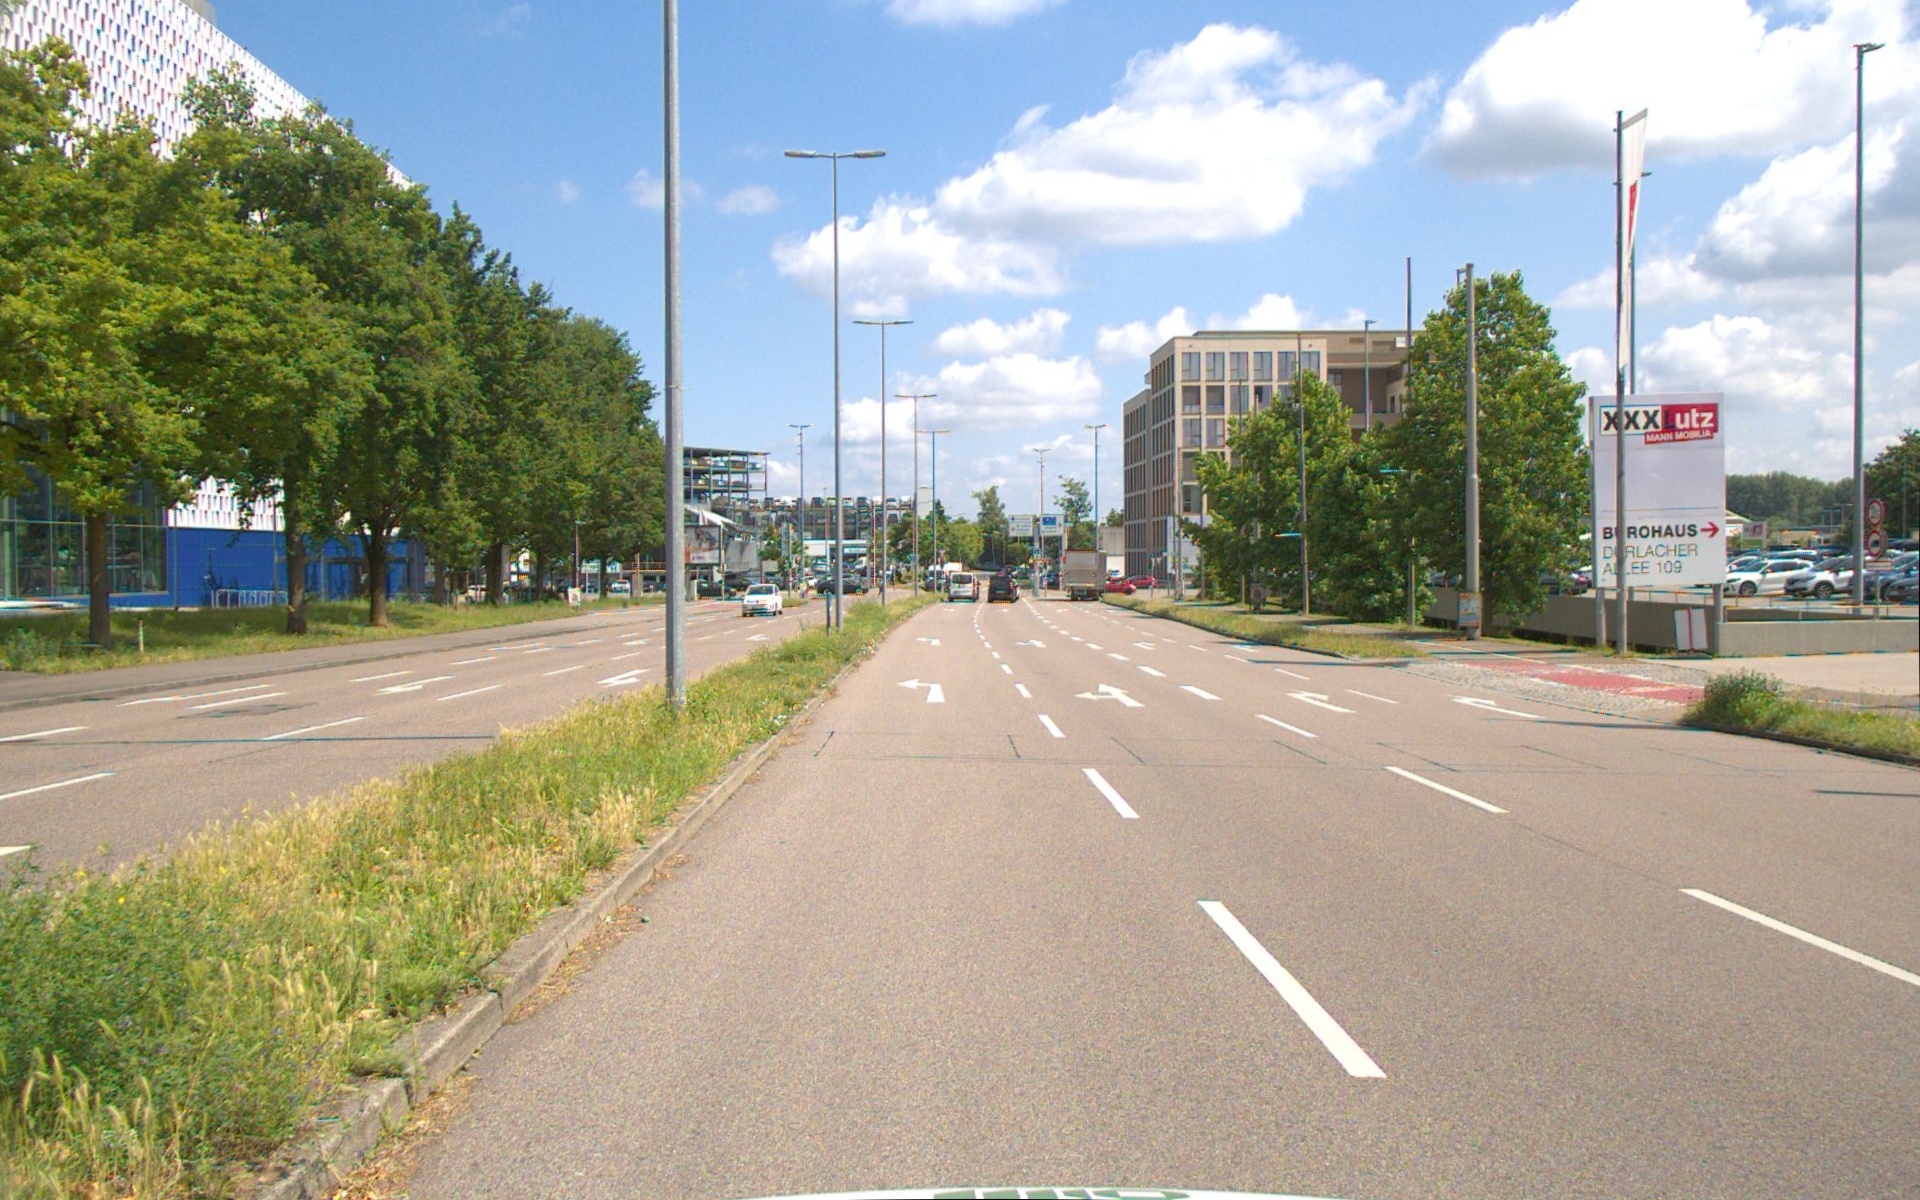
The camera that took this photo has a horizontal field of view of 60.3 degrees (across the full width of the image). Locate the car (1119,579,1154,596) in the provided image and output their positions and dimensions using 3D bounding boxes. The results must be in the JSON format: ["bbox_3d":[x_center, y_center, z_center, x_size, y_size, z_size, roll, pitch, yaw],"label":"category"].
[{"bbox_3d":[17.179,-1.186,161.025,3.206,1.428,1.335,0,10,-1],"label":"car"}]

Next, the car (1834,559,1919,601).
[{"bbox_3d":[33.221,-0.735,58.125,4.098,1.348,1.688,-2,1,-1],"label":"car"}]

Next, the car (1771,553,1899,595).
[{"bbox_3d":[33.511,-0.985,63.401,3.907,1.598,1.999,0,0,-3],"label":"car"}]

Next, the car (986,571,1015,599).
[{"bbox_3d":[2.771,-1.018,112.327,1.781,1.840,4.003,1,1,4],"label":"car"}]

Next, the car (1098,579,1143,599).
[{"bbox_3d":[14.187,-0.949,146.203,3.902,1.691,2.002,0,1,8],"label":"car"}]

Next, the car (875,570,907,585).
[{"bbox_3d":[-8.640,-2.835,207.767,3.909,1.959,1.825,0,1,-5],"label":"car"}]

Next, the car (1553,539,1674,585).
[{"bbox_3d":[33.997,-1.965,86.112,5.545,2.407,2.061,0,0,-3],"label":"car"}]

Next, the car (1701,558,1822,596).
[{"bbox_3d":[33.030,-0.975,68.203,4.101,1.413,1.892,-2,1,-4],"label":"car"}]

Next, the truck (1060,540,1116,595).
[{"bbox_3d":[9.869,-2.515,126.537,3.063,4.009,8.867,0,2,12],"label":"truck"}]

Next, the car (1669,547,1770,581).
[{"bbox_3d":[36.832,-1.751,80.221,4.099,1.459,1.726,-2,1,-1],"label":"car"}]

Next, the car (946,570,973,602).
[{"bbox_3d":[-0.061,-0.965,112.915,1.818,2.053,4.000,0,1,-1],"label":"car"}]

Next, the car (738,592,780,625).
[{"bbox_3d":[-9.448,0.383,77.964,1.610,1.453,3.669,-2,1,-2],"label":"car"}]

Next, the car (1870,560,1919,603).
[{"bbox_3d":[33.106,-0.686,55.449,4.271,1.348,1.764,-2,1,-2],"label":"car"}]
